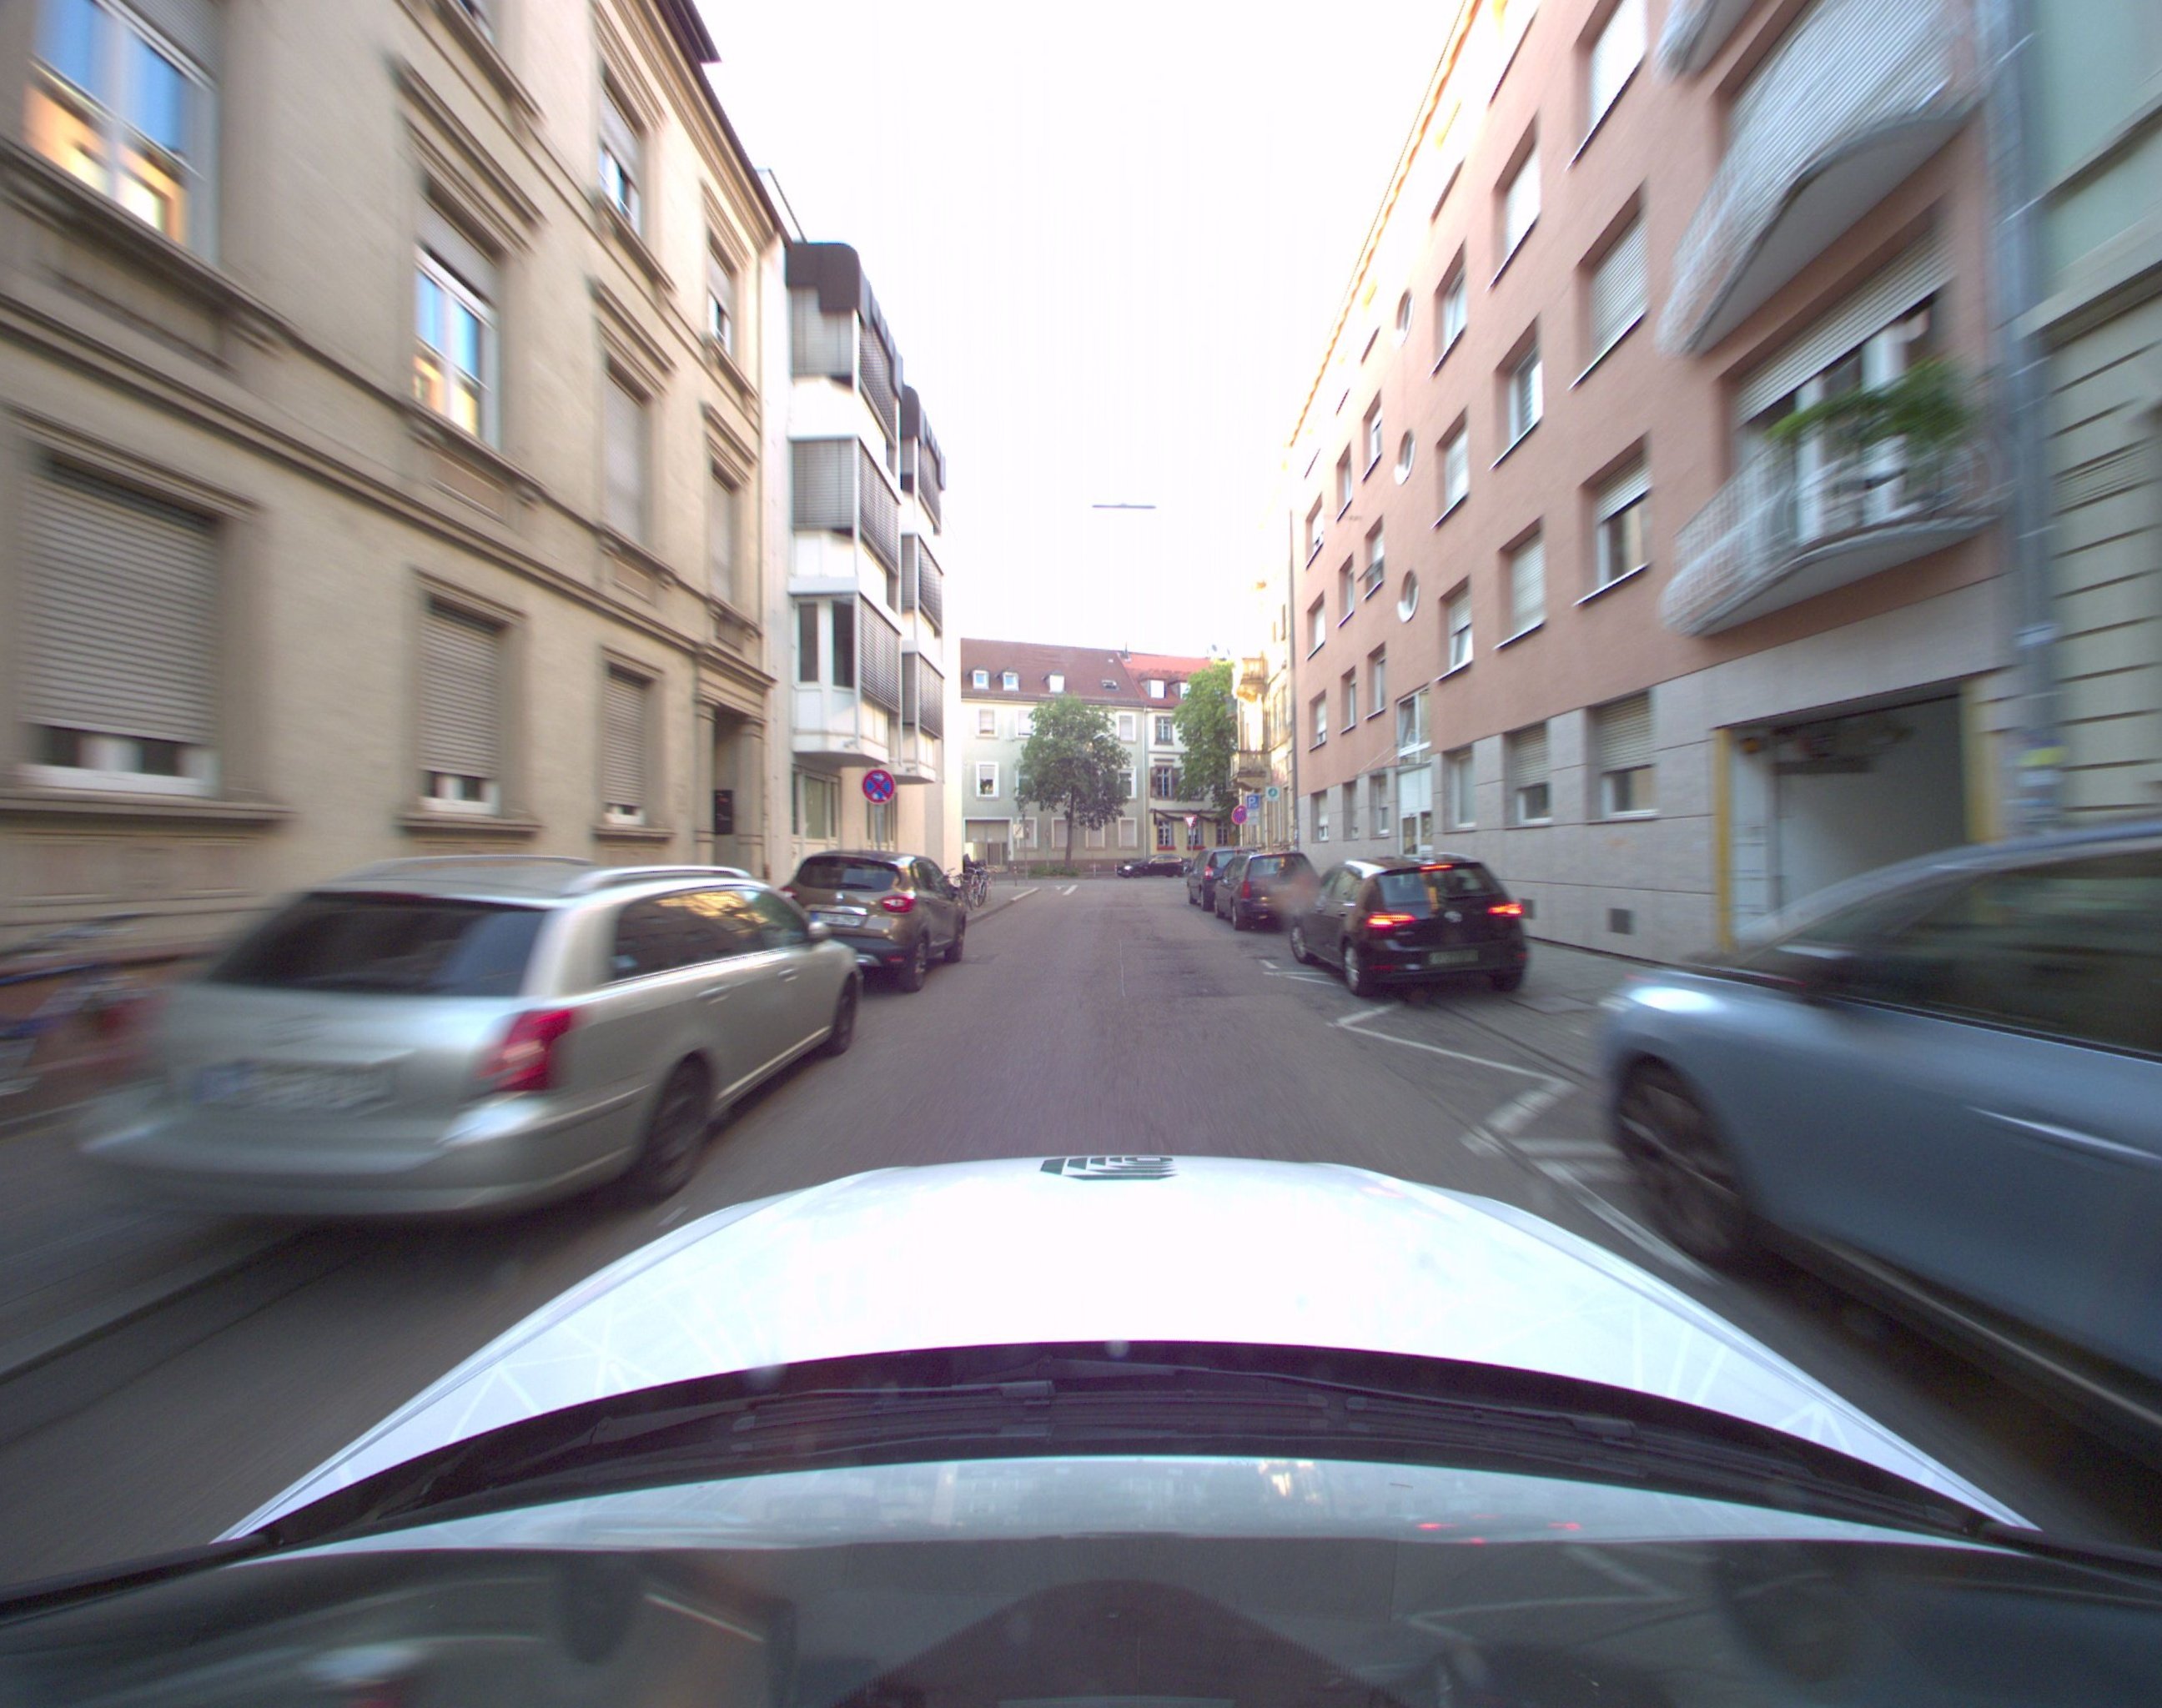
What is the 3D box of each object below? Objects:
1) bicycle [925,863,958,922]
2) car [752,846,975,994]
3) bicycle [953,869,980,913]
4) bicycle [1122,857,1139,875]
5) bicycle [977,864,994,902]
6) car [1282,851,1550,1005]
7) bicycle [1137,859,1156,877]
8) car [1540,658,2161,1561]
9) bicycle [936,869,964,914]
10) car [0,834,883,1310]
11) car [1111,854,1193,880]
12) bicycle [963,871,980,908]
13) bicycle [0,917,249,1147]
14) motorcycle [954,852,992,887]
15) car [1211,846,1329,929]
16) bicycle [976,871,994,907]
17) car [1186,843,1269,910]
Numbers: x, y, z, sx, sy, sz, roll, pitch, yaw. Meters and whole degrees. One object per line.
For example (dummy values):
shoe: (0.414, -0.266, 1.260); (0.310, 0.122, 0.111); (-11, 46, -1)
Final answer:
bicycle: (-3.087, 0.820, 18.096); (0.305, 1.222, 1.815); (-1, 0, 4)
car: (-2.616, 0.711, 10.834); (1.784, 1.576, 4.071); (-1, 0, 1)
bicycle: (-2.924, 0.923, 20.861); (0.305, 1.042, 1.815); (-1, 0, 4)
bicycle: (3.291, 0.781, 54.441); (0.446, 1.145, 2.031); (-1, 0, -16)
bicycle: (-2.931, 0.881, 25.065); (0.399, 1.102, 1.811); (-1, 0, -3)
car: (3.719, 0.708, 9.871); (1.683, 1.458, 4.134); (-1, 0, 2)
bicycle: (4.271, 0.912, 52.953); (0.446, 1.145, 2.029); (-1, 0, -19)
car: (2.928, 0.483, 1.765); (1.683, 1.741, 4.112); (-1, 0, 2)
bicycle: (-3.294, 0.917, 20.616); (0.305, 1.042, 1.815); (-1, 0, 4)
car: (-2.670, 0.712, 4.901); (1.784, 1.539, 4.435); (-1, 0, 1)
car: (4.324, 0.771, 49.640); (4.667, 1.450, 1.757); (-1, 0, -19)
bicycle: (-3.049, 0.966, 22.705); (0.306, 0.932, 1.811); (0, 0, -2)
bicycle: (-5.297, 0.898, 4.230); (0.290, 1.009, 1.545); (-1, 0, 3)
motorcycle: (-5.068, 0.728, 38.038); (0.673, 1.555, 2.137); (-1, 0, -40)
car: (3.844, 0.618, 17.243); (1.683, 1.514, 4.286); (-1, 0, 2)
bicycle: (-2.708, 0.982, 23.122); (0.306, 0.932, 1.812); (-1, 0, -1)
car: (3.886, 0.548, 22.135); (1.683, 1.625, 4.057); (-1, 0, 2)
